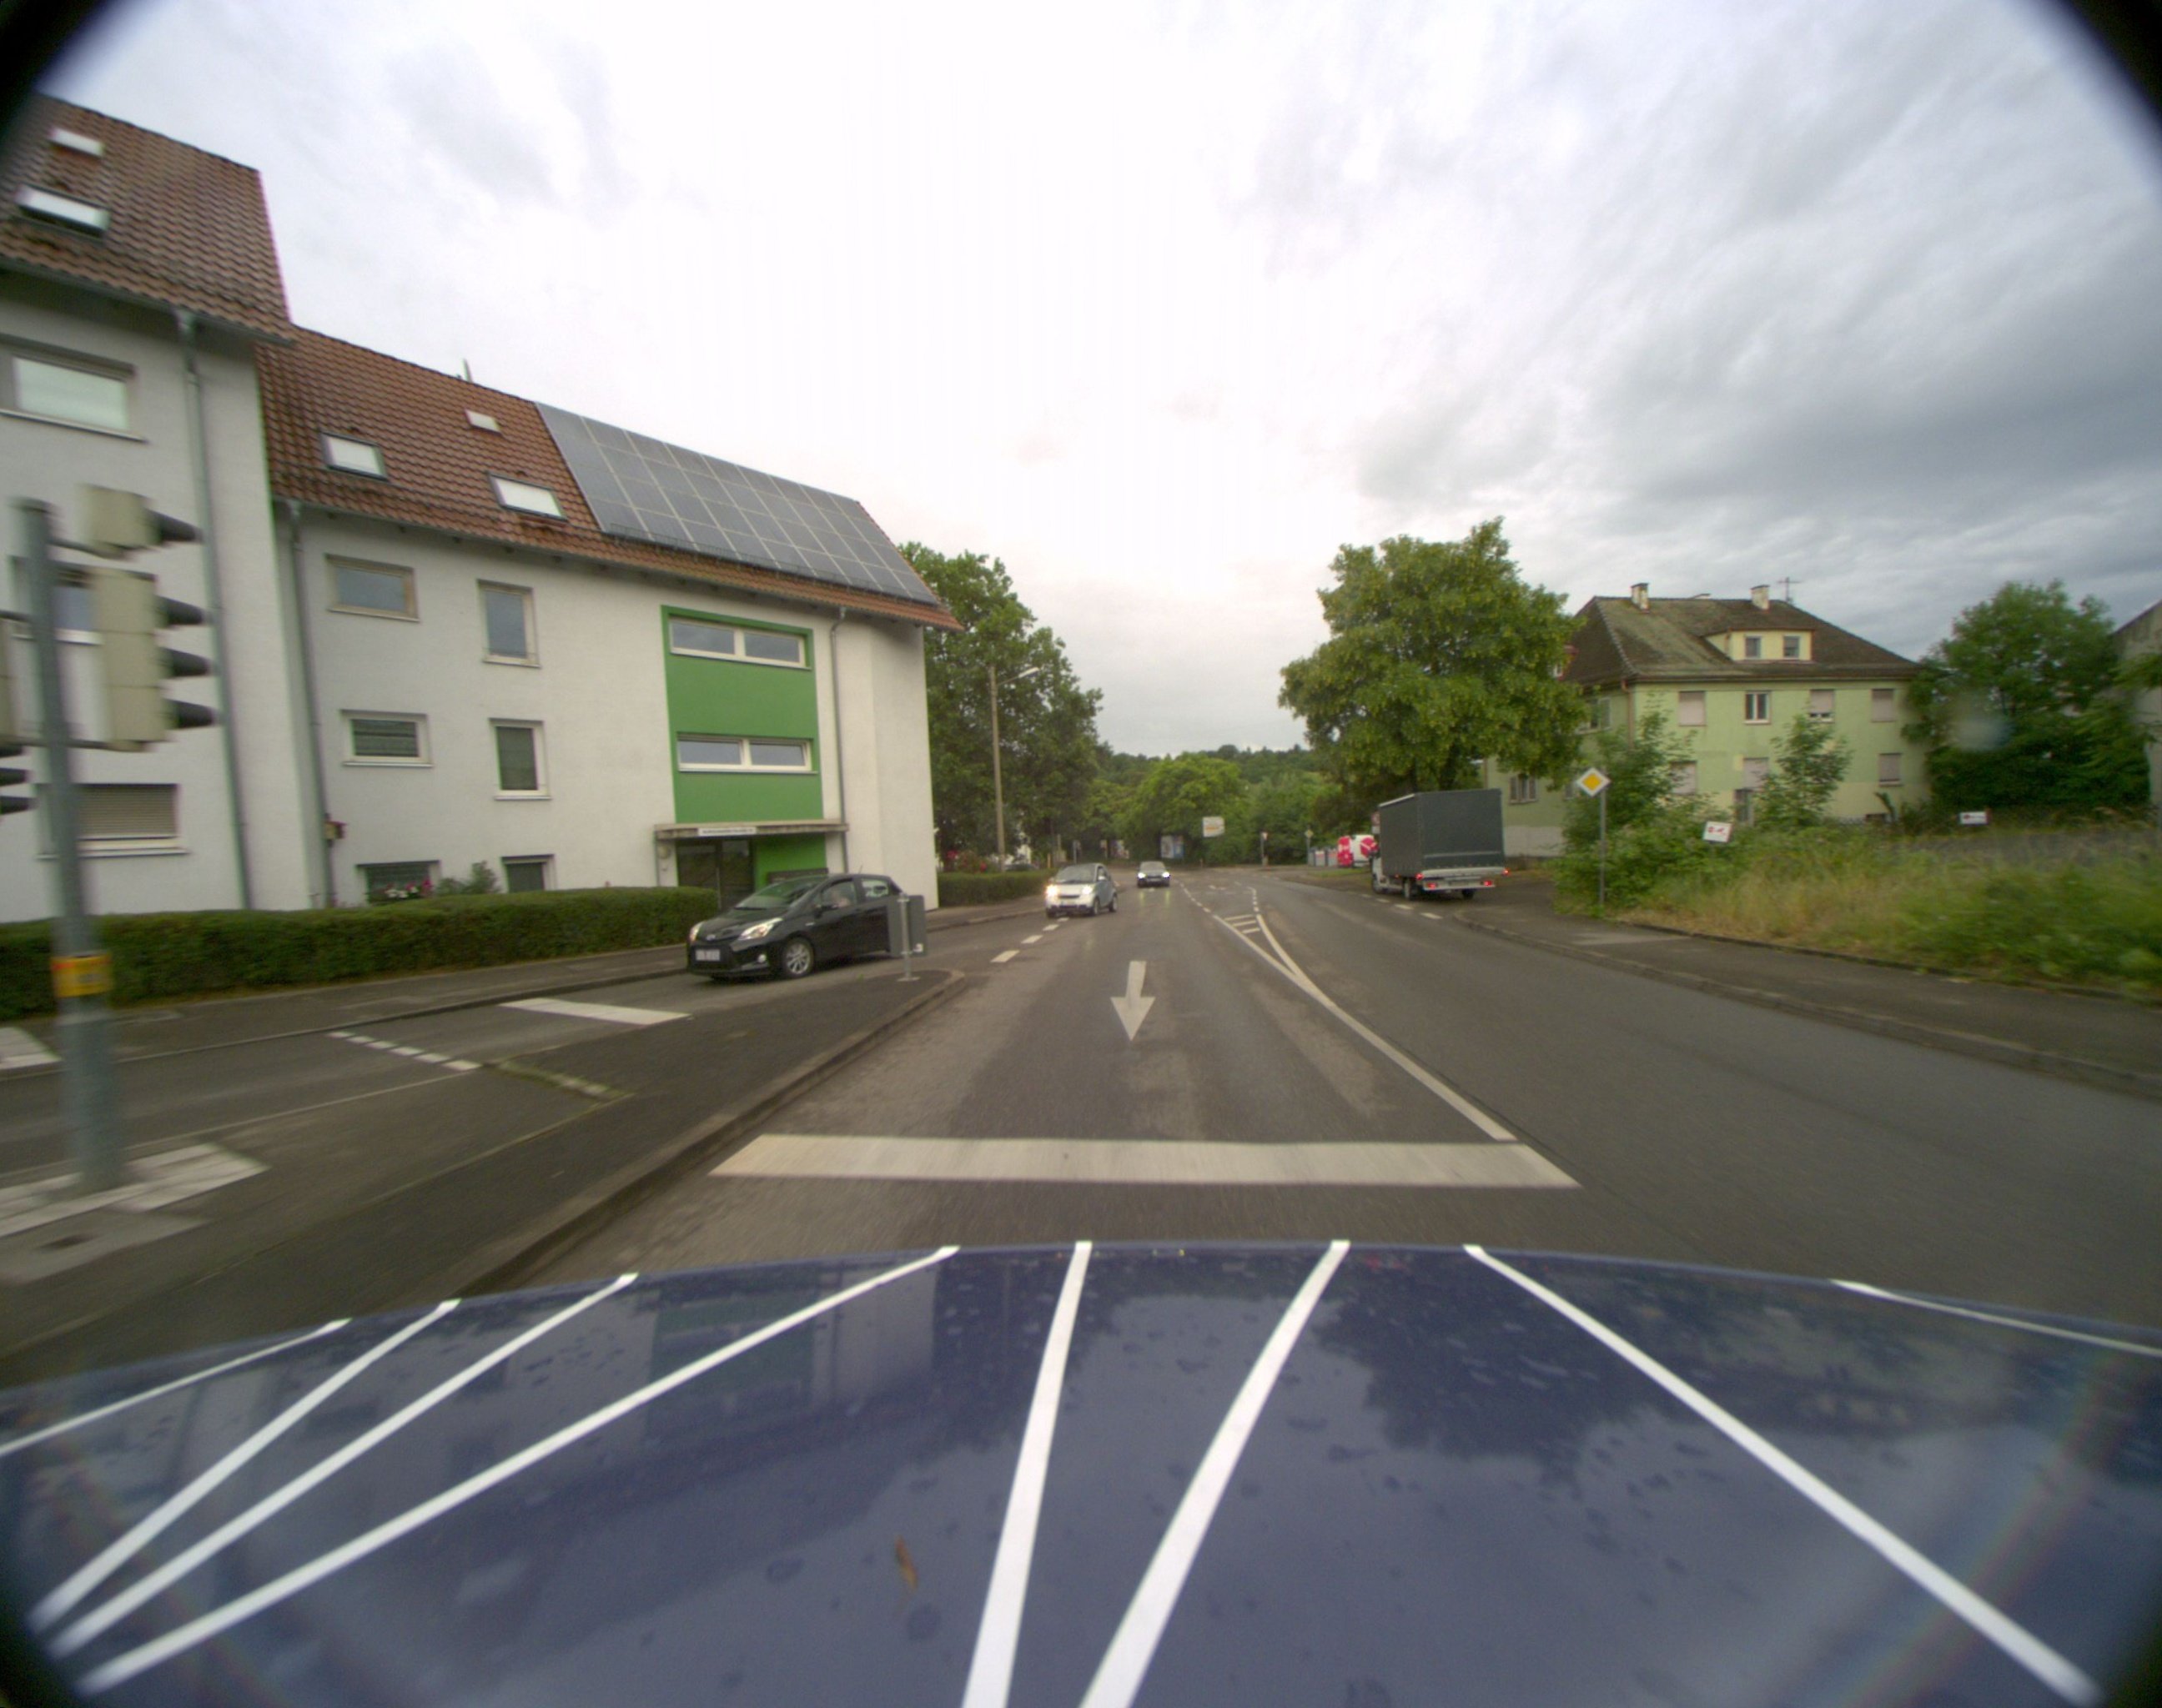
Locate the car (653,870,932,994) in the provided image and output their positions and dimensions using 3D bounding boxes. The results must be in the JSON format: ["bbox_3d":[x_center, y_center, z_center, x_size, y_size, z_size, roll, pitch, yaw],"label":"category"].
[{"bbox_3d":[-4.236,1.079,11.861,1.642,1.449,4.006,-3,0,24],"label":"car"}]

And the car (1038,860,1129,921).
[{"bbox_3d":[0.153,1.045,22.967,1.642,1.548,3.633,-3,0,18],"label":"car"}]

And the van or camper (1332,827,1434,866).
[{"bbox_3d":[21.960,-0.542,55.301,6.699,2.507,2.221,-3,0,-12],"label":"van or camper"}]

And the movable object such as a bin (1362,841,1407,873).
[{"bbox_3d":[15.163,0.153,38.005,1.474,1.432,1.374,-3,-2,-31],"label":"movable object such as a bin"}]

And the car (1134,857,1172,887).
[{"bbox_3d":[4.114,0.986,43.987,1.707,1.548,3.999,-3,0,-1],"label":"car"}]

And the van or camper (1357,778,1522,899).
[{"bbox_3d":[11.595,-0.458,25.518,2.703,3.315,7.766,-3,0,8],"label":"van or camper"}]

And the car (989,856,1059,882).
[{"bbox_3d":[-3.891,0.977,51.556,4.395,1.504,1.997,-3,0,-15],"label":"car"}]
